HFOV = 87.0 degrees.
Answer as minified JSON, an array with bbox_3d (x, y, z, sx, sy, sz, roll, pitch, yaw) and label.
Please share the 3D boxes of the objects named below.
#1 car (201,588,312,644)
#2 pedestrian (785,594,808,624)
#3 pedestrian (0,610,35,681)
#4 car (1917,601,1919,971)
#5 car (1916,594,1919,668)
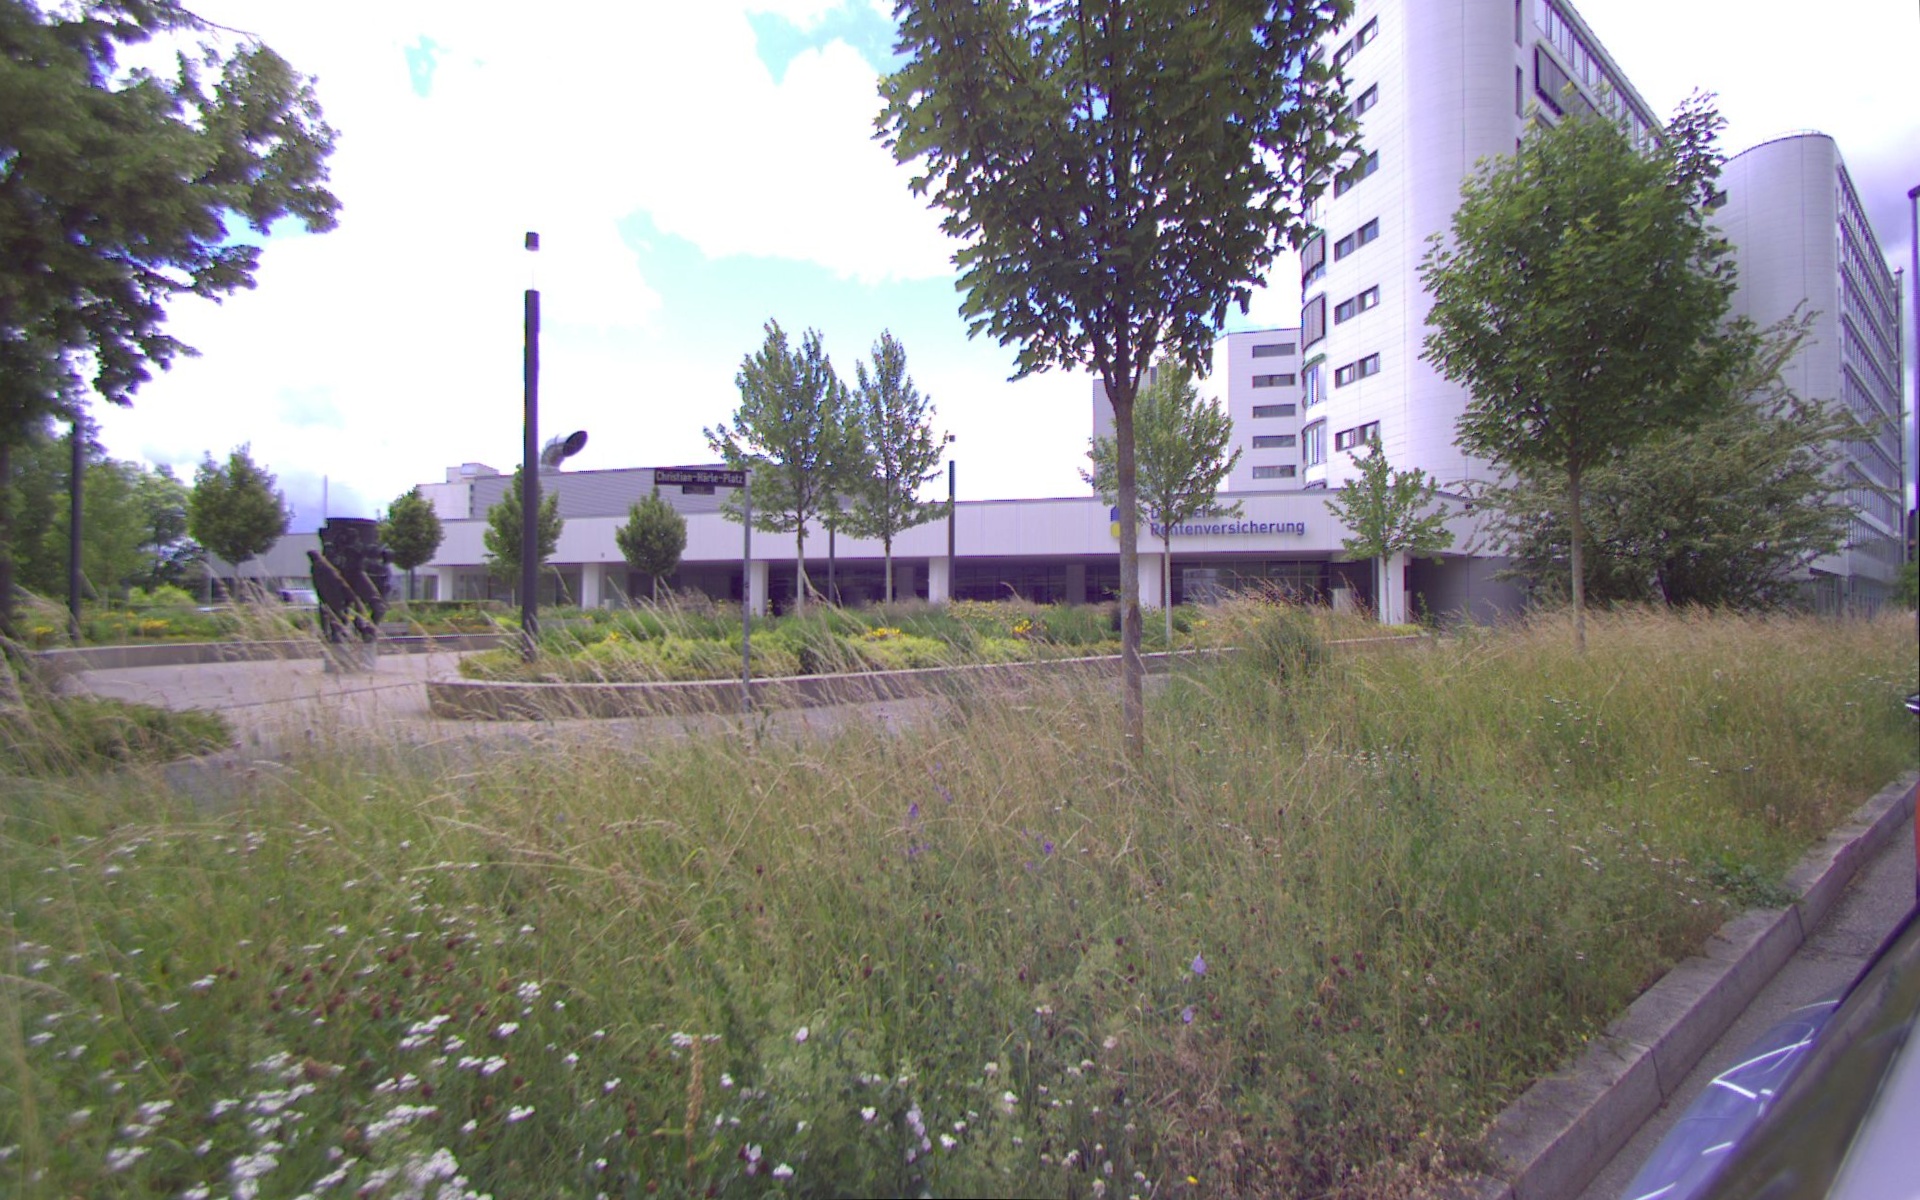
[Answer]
[{"bbox_3d":[-23.378,0.507,33.620,3.470,1.788,1.622,0,0,27],"label":"car"},{"bbox_3d":[-7.083,0.373,43.935,0.869,1.290,0.704,1,0,2],"label":"pedestrian"},{"bbox_3d":[-17.461,0.829,18.679,0.560,1.278,0.581,0,0,-43],"label":"pedestrian"},{"bbox_3d":[5.914,0.737,4.750,3.930,1.498,1.691,-1,0,-41],"label":"car"},{"bbox_3d":[22.614,0.691,22.490,3.386,1.594,1.736,0,0,-42],"label":"car"}]
